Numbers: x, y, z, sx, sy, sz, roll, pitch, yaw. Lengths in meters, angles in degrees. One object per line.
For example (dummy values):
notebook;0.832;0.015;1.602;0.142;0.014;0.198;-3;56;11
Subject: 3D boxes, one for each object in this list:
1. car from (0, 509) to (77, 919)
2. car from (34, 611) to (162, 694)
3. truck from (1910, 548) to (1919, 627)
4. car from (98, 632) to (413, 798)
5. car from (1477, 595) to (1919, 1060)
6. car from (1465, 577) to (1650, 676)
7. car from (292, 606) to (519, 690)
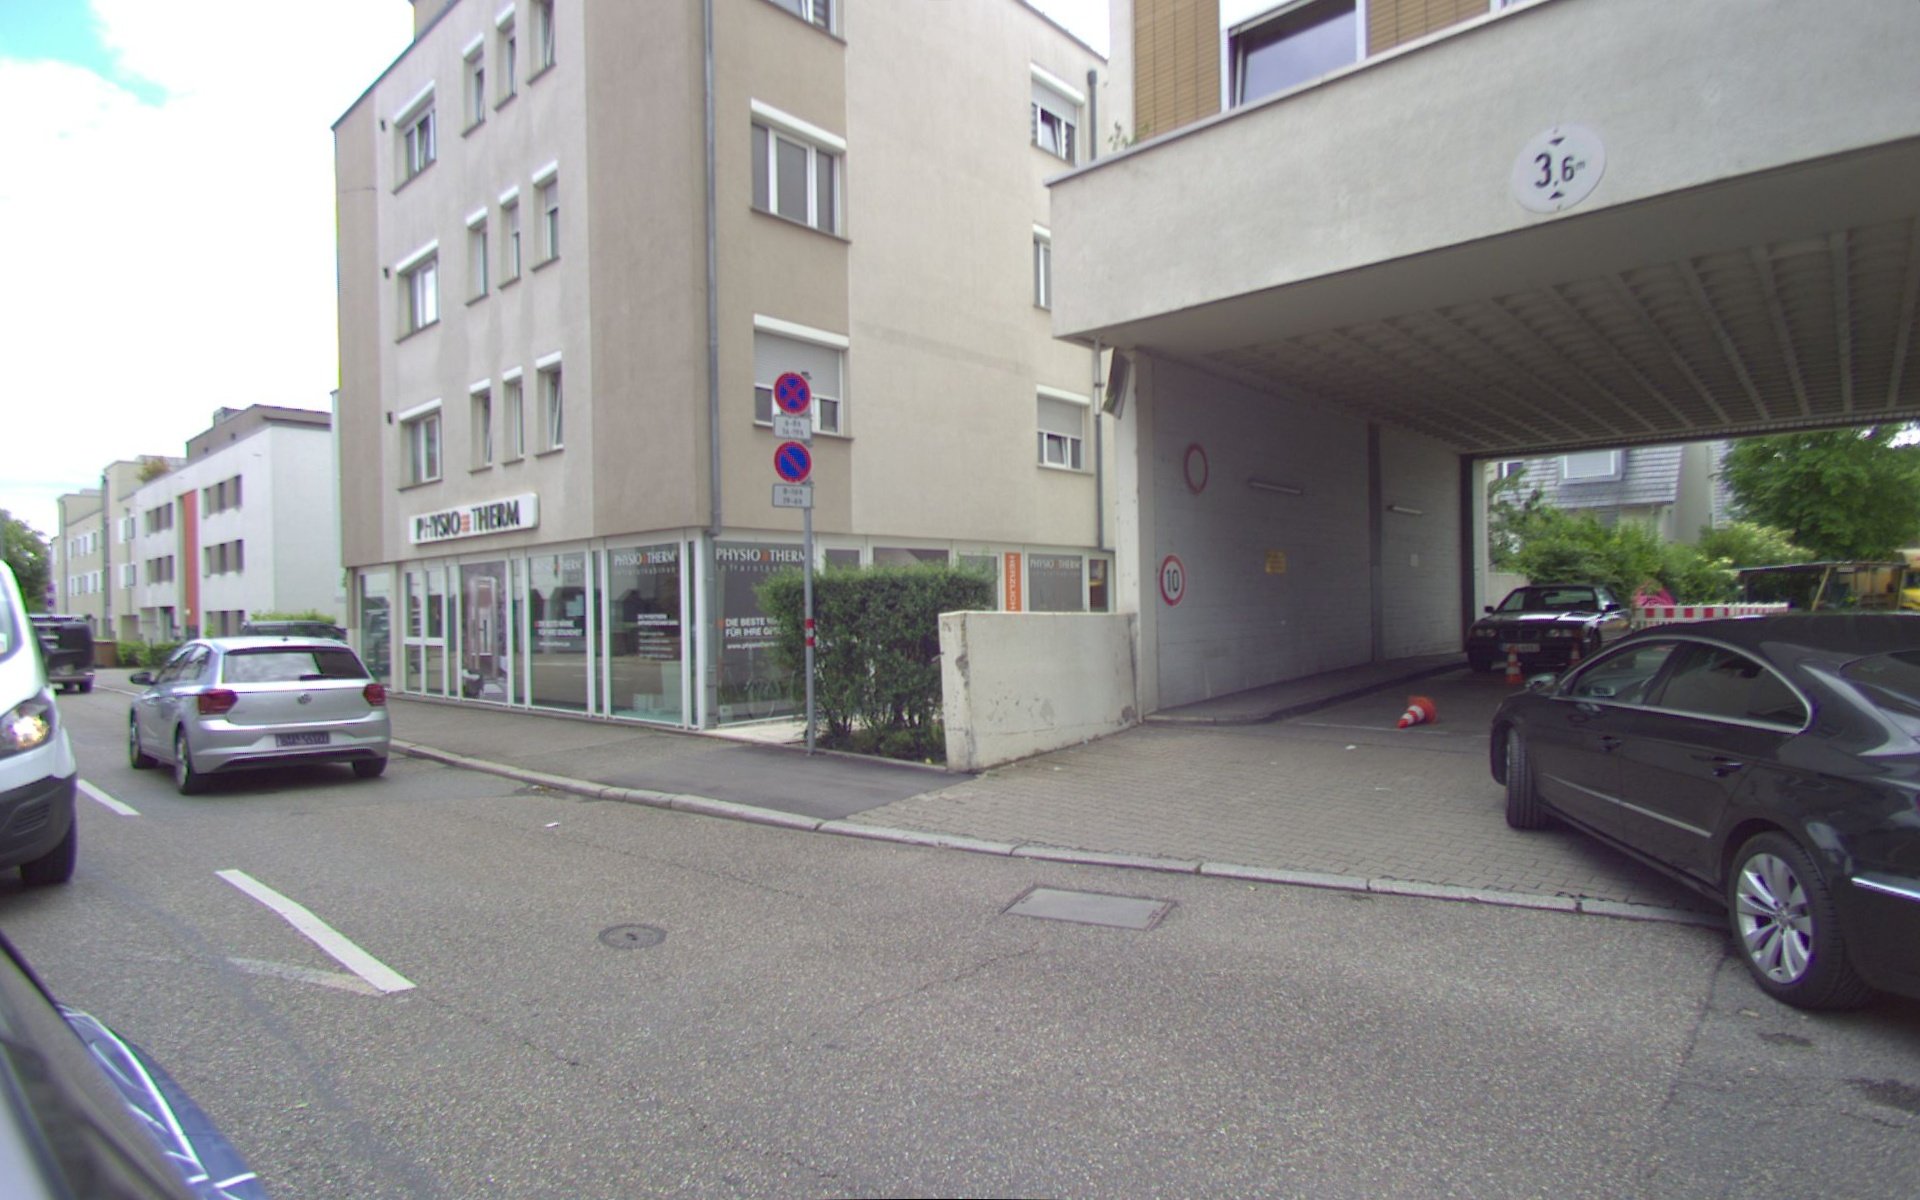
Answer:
car;-7.079;0.622;6.118;5.084;2.013;1.939;-2;-1;41
car;-22.969;1.356;26.904;4.759;2.013;1.939;-2;-3;42
truck;36.938;-0.543;37.446;7.185;2.772;2.002;-2;0;-43
car;-7.541;1.066;10.695;3.997;1.428;1.780;-2;-3;41
car;4.006;0.698;4.576;1.639;1.409;4.441;-1;0;9
car;9.422;0.342;15.792;1.624;1.333;4.391;-2;0;42
car;-14.790;1.208;27.229;1.967;2.013;5.014;-2;-1;44
